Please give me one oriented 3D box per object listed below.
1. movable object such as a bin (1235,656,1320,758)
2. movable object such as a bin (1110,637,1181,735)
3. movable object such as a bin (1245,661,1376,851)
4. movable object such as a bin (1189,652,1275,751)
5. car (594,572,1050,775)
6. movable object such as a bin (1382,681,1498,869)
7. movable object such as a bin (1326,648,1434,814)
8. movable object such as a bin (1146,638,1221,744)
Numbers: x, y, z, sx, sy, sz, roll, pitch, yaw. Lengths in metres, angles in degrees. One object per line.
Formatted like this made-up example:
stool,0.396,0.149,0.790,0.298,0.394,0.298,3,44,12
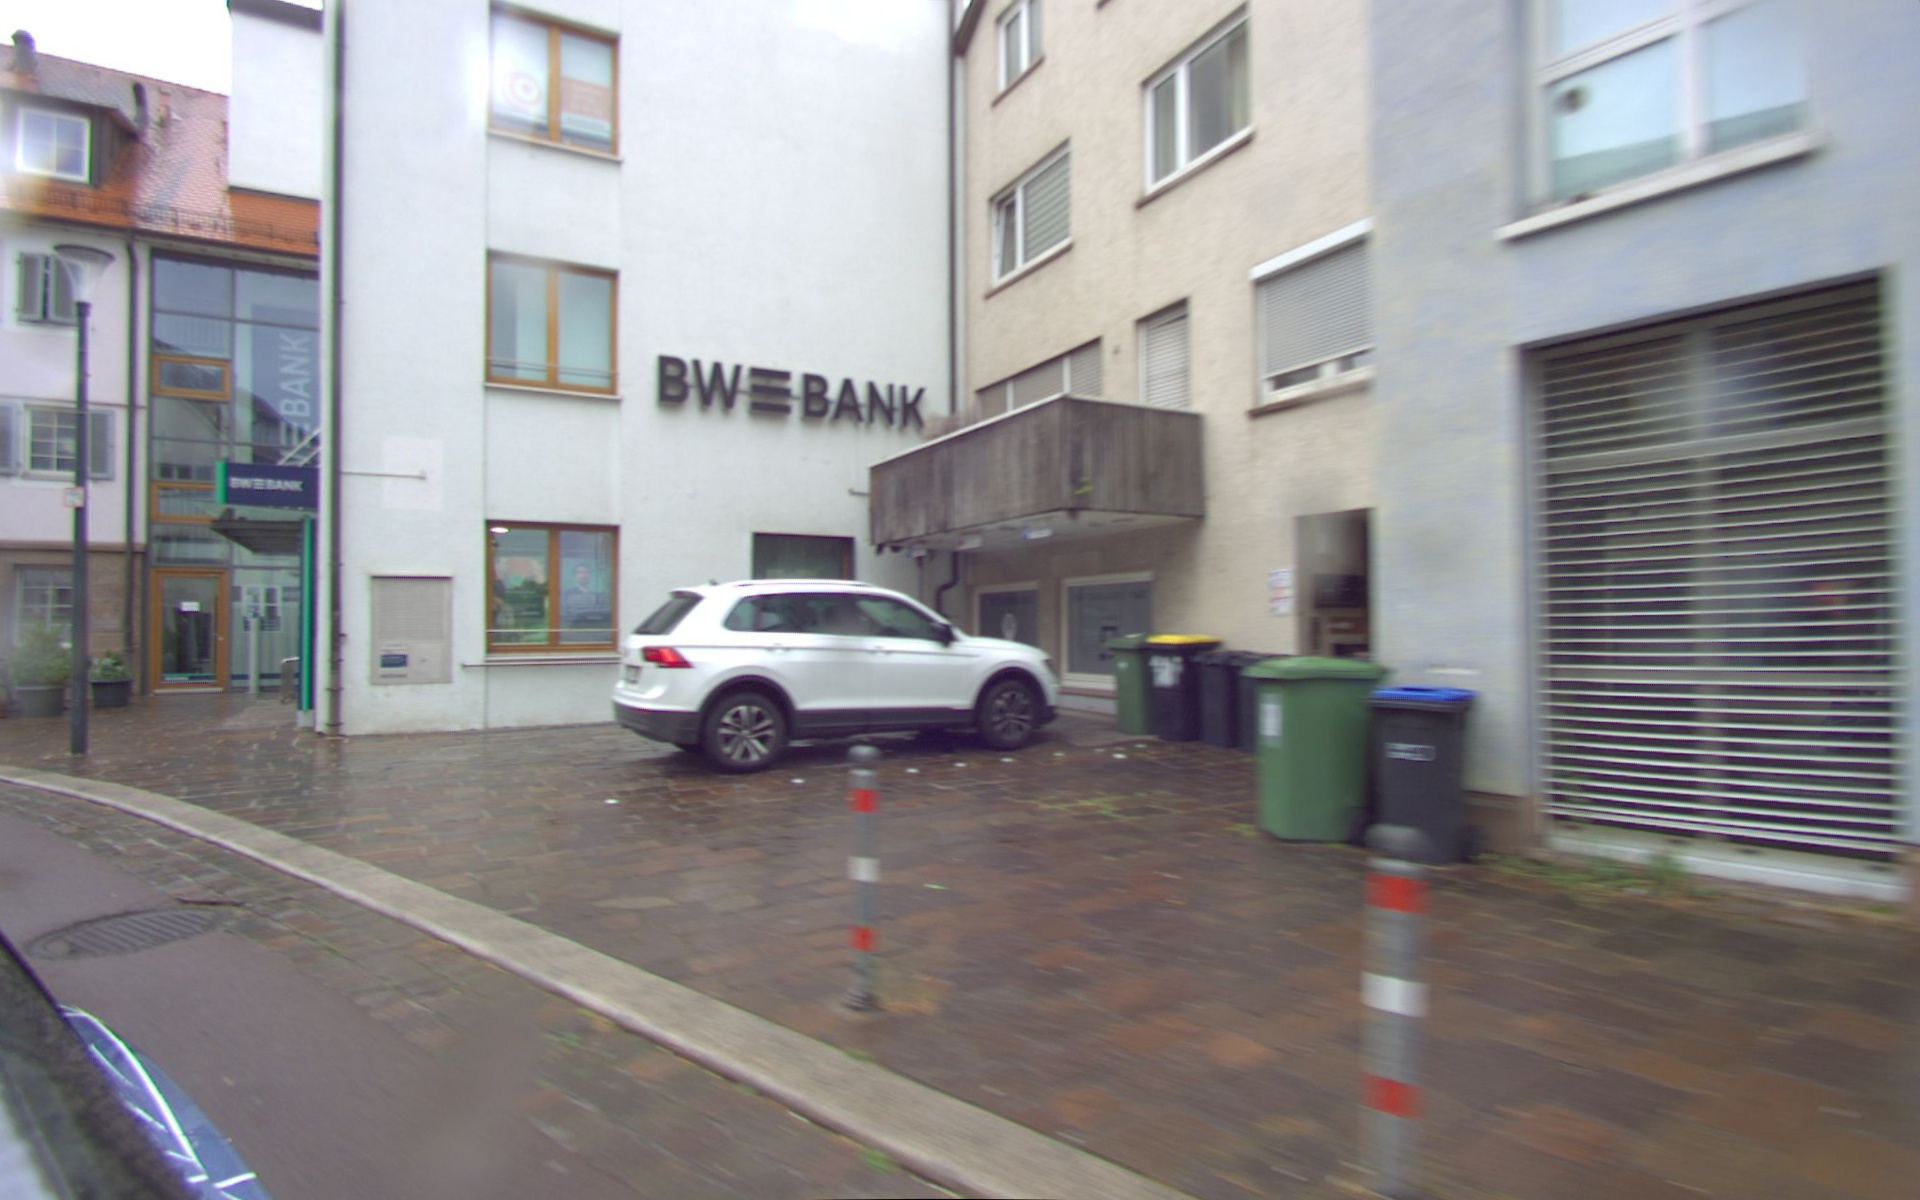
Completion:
movable object such as a bin,2.959,0.975,9.441,0.533,0.875,0.532,1,0,-33
movable object such as a bin,1.995,0.913,10.914,0.534,0.998,0.532,1,0,-34
movable object such as a bin,2.052,0.876,5.926,0.573,0.996,0.481,0,0,45
movable object such as a bin,2.666,0.977,9.936,0.581,0.902,0.568,1,0,-32
car,-1.288,0.591,9.727,3.930,1.595,1.839,0,0,-30
movable object such as a bin,2.585,0.912,5.448,0.450,0.902,0.455,0,0,42
movable object such as a bin,2.820,0.857,6.805,0.467,1.036,0.475,1,0,-25
movable object such as a bin,2.289,0.911,10.381,0.534,1.019,0.532,1,0,-34
